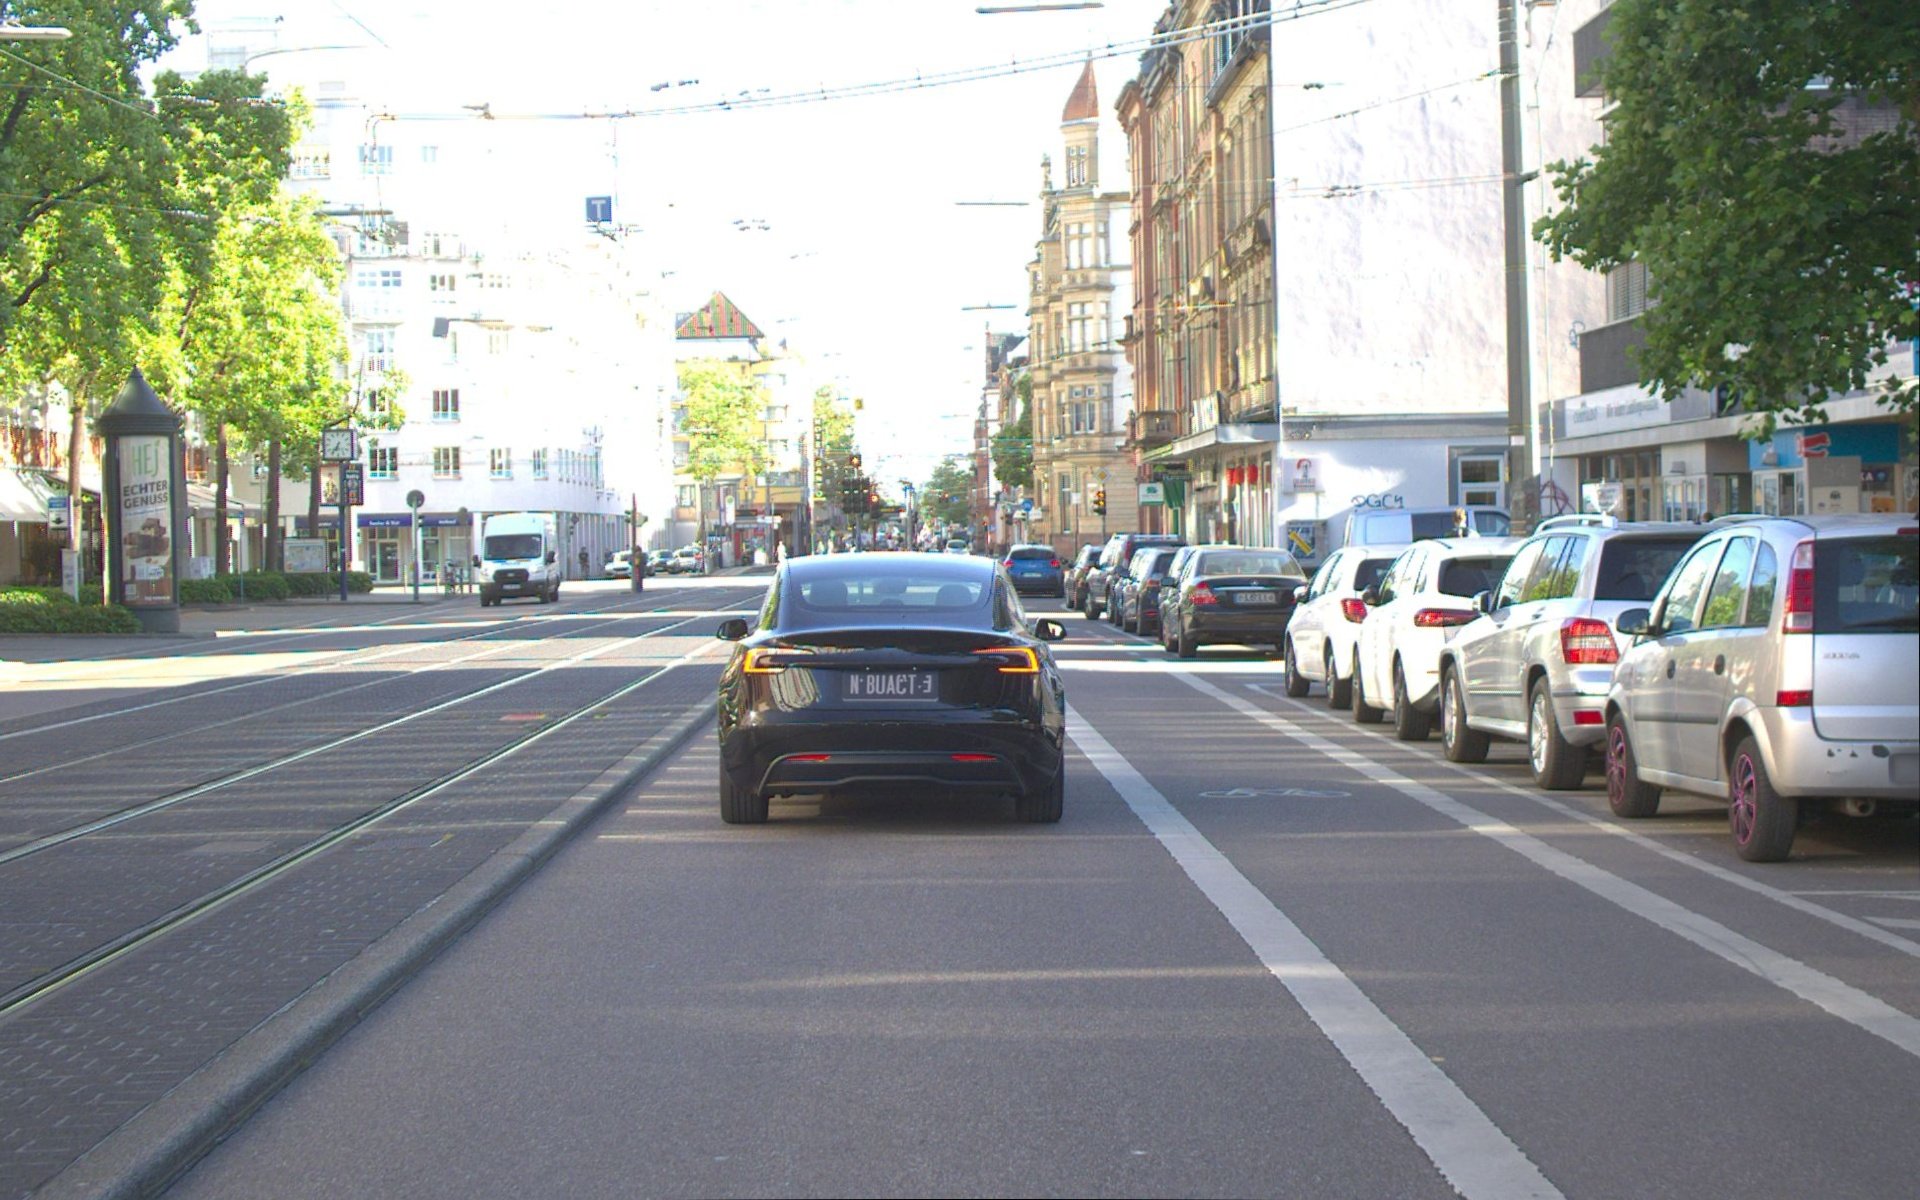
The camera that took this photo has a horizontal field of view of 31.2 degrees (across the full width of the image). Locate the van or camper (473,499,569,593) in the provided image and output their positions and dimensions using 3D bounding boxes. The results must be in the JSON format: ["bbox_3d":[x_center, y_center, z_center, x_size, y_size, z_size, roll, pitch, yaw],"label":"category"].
[{"bbox_3d":[-13.128,-1.651,103.142,2.139,2.645,6.881,-2,1,-2],"label":"van or camper"}]

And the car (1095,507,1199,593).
[{"bbox_3d":[3.677,-0.984,68.203,1.829,1.622,4.095,-1,1,0],"label":"car"}]

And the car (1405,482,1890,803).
[{"bbox_3d":[4.281,0.168,22.206,1.925,1.828,4.713,-1,2,-3],"label":"car"}]

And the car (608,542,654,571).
[{"bbox_3d":[-17.113,-2.275,179.111,1.993,1.363,4.000,-2,1,-1],"label":"car"}]

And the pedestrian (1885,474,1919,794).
[{"bbox_3d":[5.696,0.170,19.649,0.611,1.801,0.602,-3,1,4],"label":"pedestrian"}]

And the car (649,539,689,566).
[{"bbox_3d":[-17.237,-2.816,203.948,1.993,1.490,4.000,-2,1,-1],"label":"car"}]

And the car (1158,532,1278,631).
[{"bbox_3d":[3.915,-0.298,52.521,1.578,1.442,3.309,-1,1,0],"label":"car"}]

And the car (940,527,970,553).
[{"bbox_3d":[-0.339,-3.877,221.610,1.846,1.587,4.000,-3,2,0],"label":"car"}]

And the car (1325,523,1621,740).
[{"bbox_3d":[4.028,0.181,27.622,1.541,1.564,4.444,-1,2,-2],"label":"car"}]

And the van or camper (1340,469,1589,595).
[{"bbox_3d":[10.044,-1.365,68.729,4.644,2.129,1.987,-4,1,4],"label":"van or camper"}]

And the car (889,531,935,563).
[{"bbox_3d":[-2.399,-2.642,170.886,1.993,1.520,4.001,-1,1,-5],"label":"car"}]

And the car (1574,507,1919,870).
[{"bbox_3d":[4.388,0.341,17.369,1.713,1.585,4.066,0,2,-2],"label":"car"}]

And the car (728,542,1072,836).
[{"bbox_3d":[-0.357,0.416,19.127,1.719,1.400,3.710,0,2,-2],"label":"car"}]

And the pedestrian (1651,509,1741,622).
[{"bbox_3d":[11.660,-0.546,54.425,1.155,1.722,1.042,-1,2,24],"label":"pedestrian"}]

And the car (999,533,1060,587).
[{"bbox_3d":[1.938,-1.147,96.793,1.593,1.428,3.686,-2,1,0],"label":"car"}]

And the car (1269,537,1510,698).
[{"bbox_3d":[4.065,0.122,33.078,1.601,1.438,3.886,0,1,-3],"label":"car"}]

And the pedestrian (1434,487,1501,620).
[{"bbox_3d":[7.038,-0.645,47.707,0.721,1.805,0.889,-2,1,-1],"label":"pedestrian"}]

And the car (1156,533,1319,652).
[{"bbox_3d":[3.688,-0.142,46.391,1.710,1.452,4.551,-2,1,-1],"label":"car"}]

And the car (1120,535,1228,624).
[{"bbox_3d":[3.564,-0.352,57.785,1.461,1.427,3.814,-1,1,-1],"label":"car"}]

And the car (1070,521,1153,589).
[{"bbox_3d":[3.457,-1.050,78.977,1.715,1.467,3.720,-2,1,0],"label":"car"}]

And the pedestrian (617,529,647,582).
[{"bbox_3d":[-10.725,-1.459,112.386,0.845,1.689,0.796,0,2,7],"label":"pedestrian"}]

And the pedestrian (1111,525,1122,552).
[{"bbox_3d":[7.107,-2.781,156.401,0.441,1.217,0.389,-2,1,-1],"label":"pedestrian"}]
